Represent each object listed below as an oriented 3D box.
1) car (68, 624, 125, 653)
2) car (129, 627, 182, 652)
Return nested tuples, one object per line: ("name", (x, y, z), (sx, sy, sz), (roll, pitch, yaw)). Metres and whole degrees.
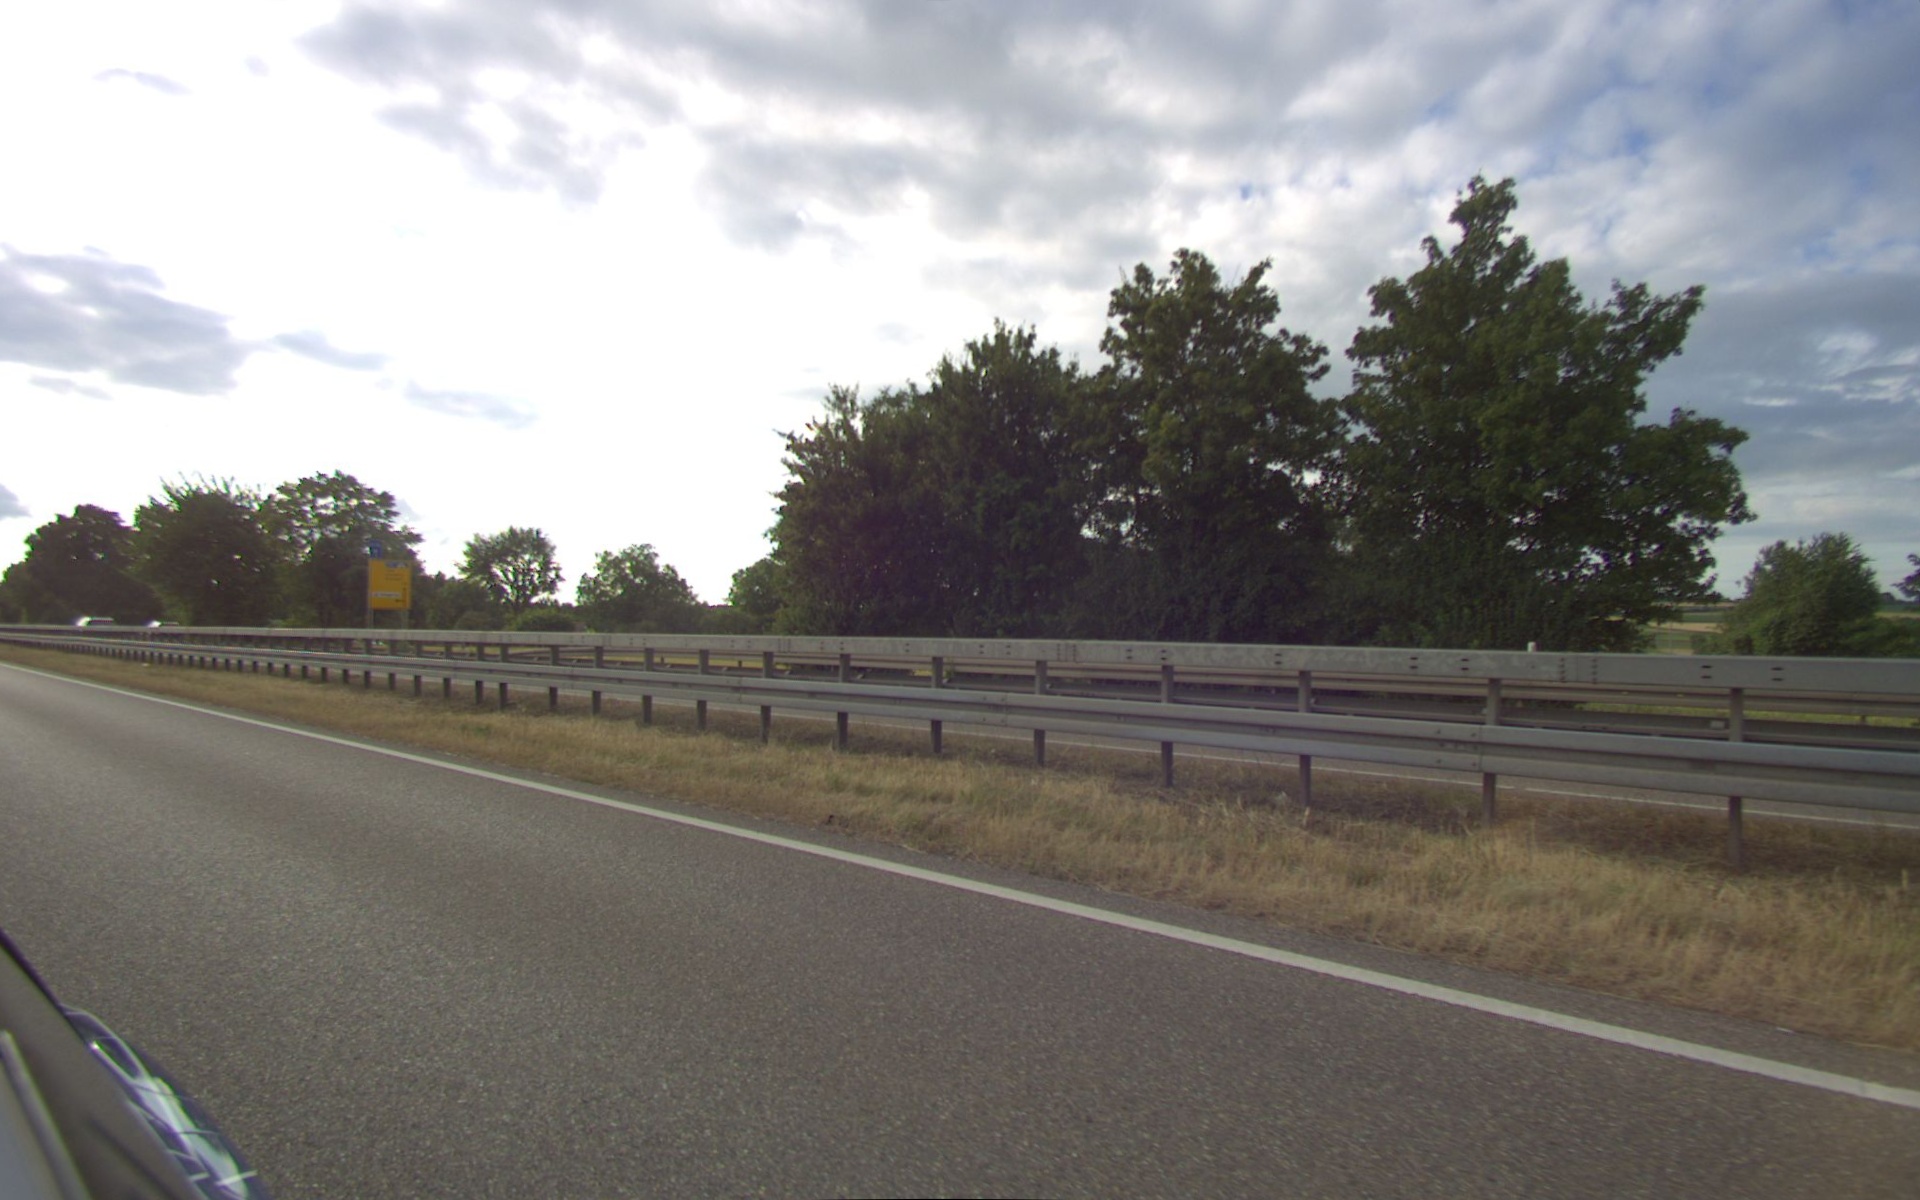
("car", (-49.761, 2.205, 58.307), (4.374, 1.627, 1.779), (-1, -4, 41))
("car", (-51.568, 2.509, 64.875), (4.459, 1.489, 1.887), (-1, -1, 41))
